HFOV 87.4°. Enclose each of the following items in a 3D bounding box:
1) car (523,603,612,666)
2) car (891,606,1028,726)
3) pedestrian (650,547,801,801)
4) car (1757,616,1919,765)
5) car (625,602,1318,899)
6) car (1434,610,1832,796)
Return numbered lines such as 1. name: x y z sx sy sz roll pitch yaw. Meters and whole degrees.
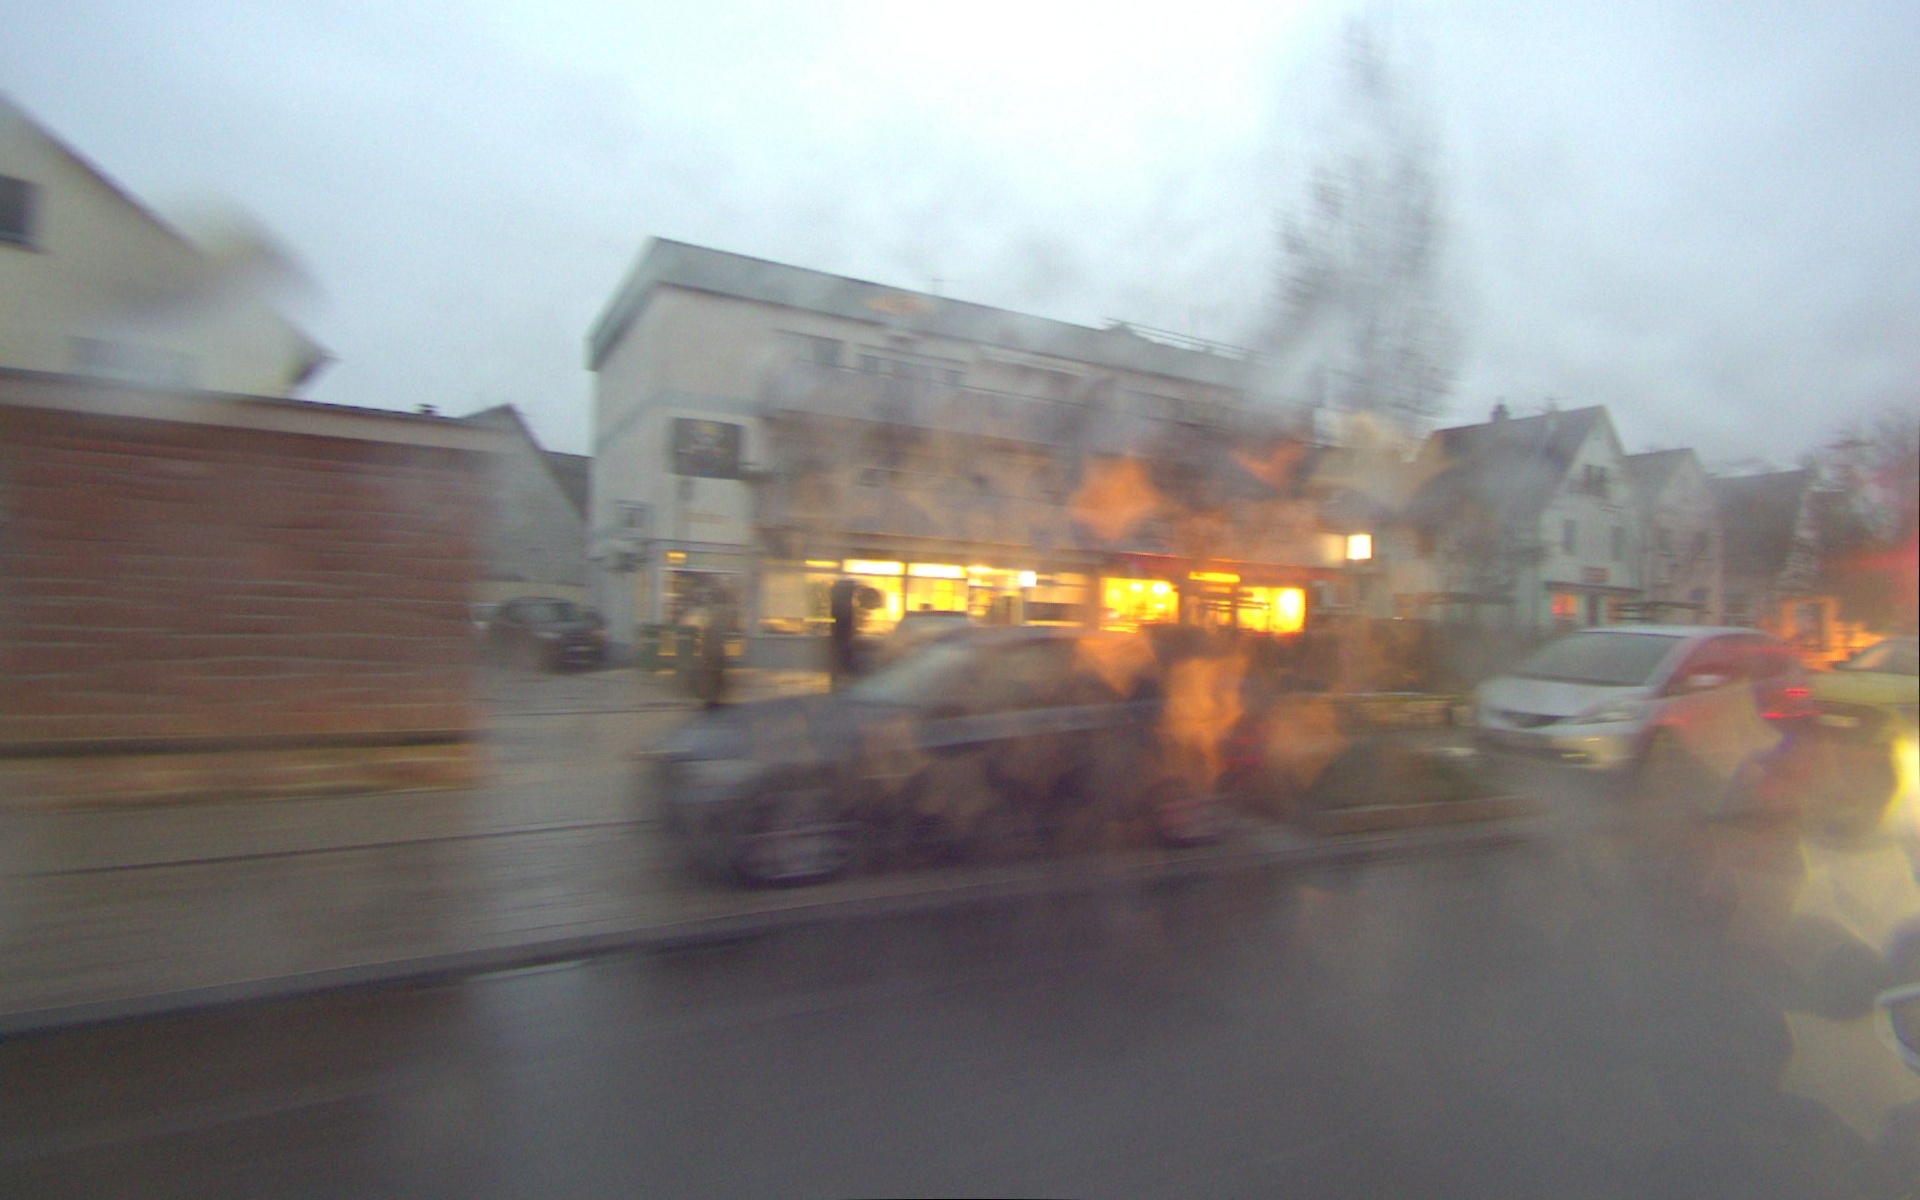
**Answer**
1. car: -10.250 0.852 26.080 1.852 1.486 3.974 1 -1 -26
2. car: -0.003 0.896 14.546 1.705 1.496 4.090 0 -2 0
3. pedestrian: -1.884 0.565 8.039 1.045 1.891 0.752 1 -1 -23
4. car: 11.994 1.036 12.200 4.279 1.536 1.745 2 1 -22
5. car: 0.127 0.816 6.840 4.398 1.492 1.741 1 0 -25
6. car: 6.793 0.926 10.119 3.723 1.536 1.686 1 0 -26
